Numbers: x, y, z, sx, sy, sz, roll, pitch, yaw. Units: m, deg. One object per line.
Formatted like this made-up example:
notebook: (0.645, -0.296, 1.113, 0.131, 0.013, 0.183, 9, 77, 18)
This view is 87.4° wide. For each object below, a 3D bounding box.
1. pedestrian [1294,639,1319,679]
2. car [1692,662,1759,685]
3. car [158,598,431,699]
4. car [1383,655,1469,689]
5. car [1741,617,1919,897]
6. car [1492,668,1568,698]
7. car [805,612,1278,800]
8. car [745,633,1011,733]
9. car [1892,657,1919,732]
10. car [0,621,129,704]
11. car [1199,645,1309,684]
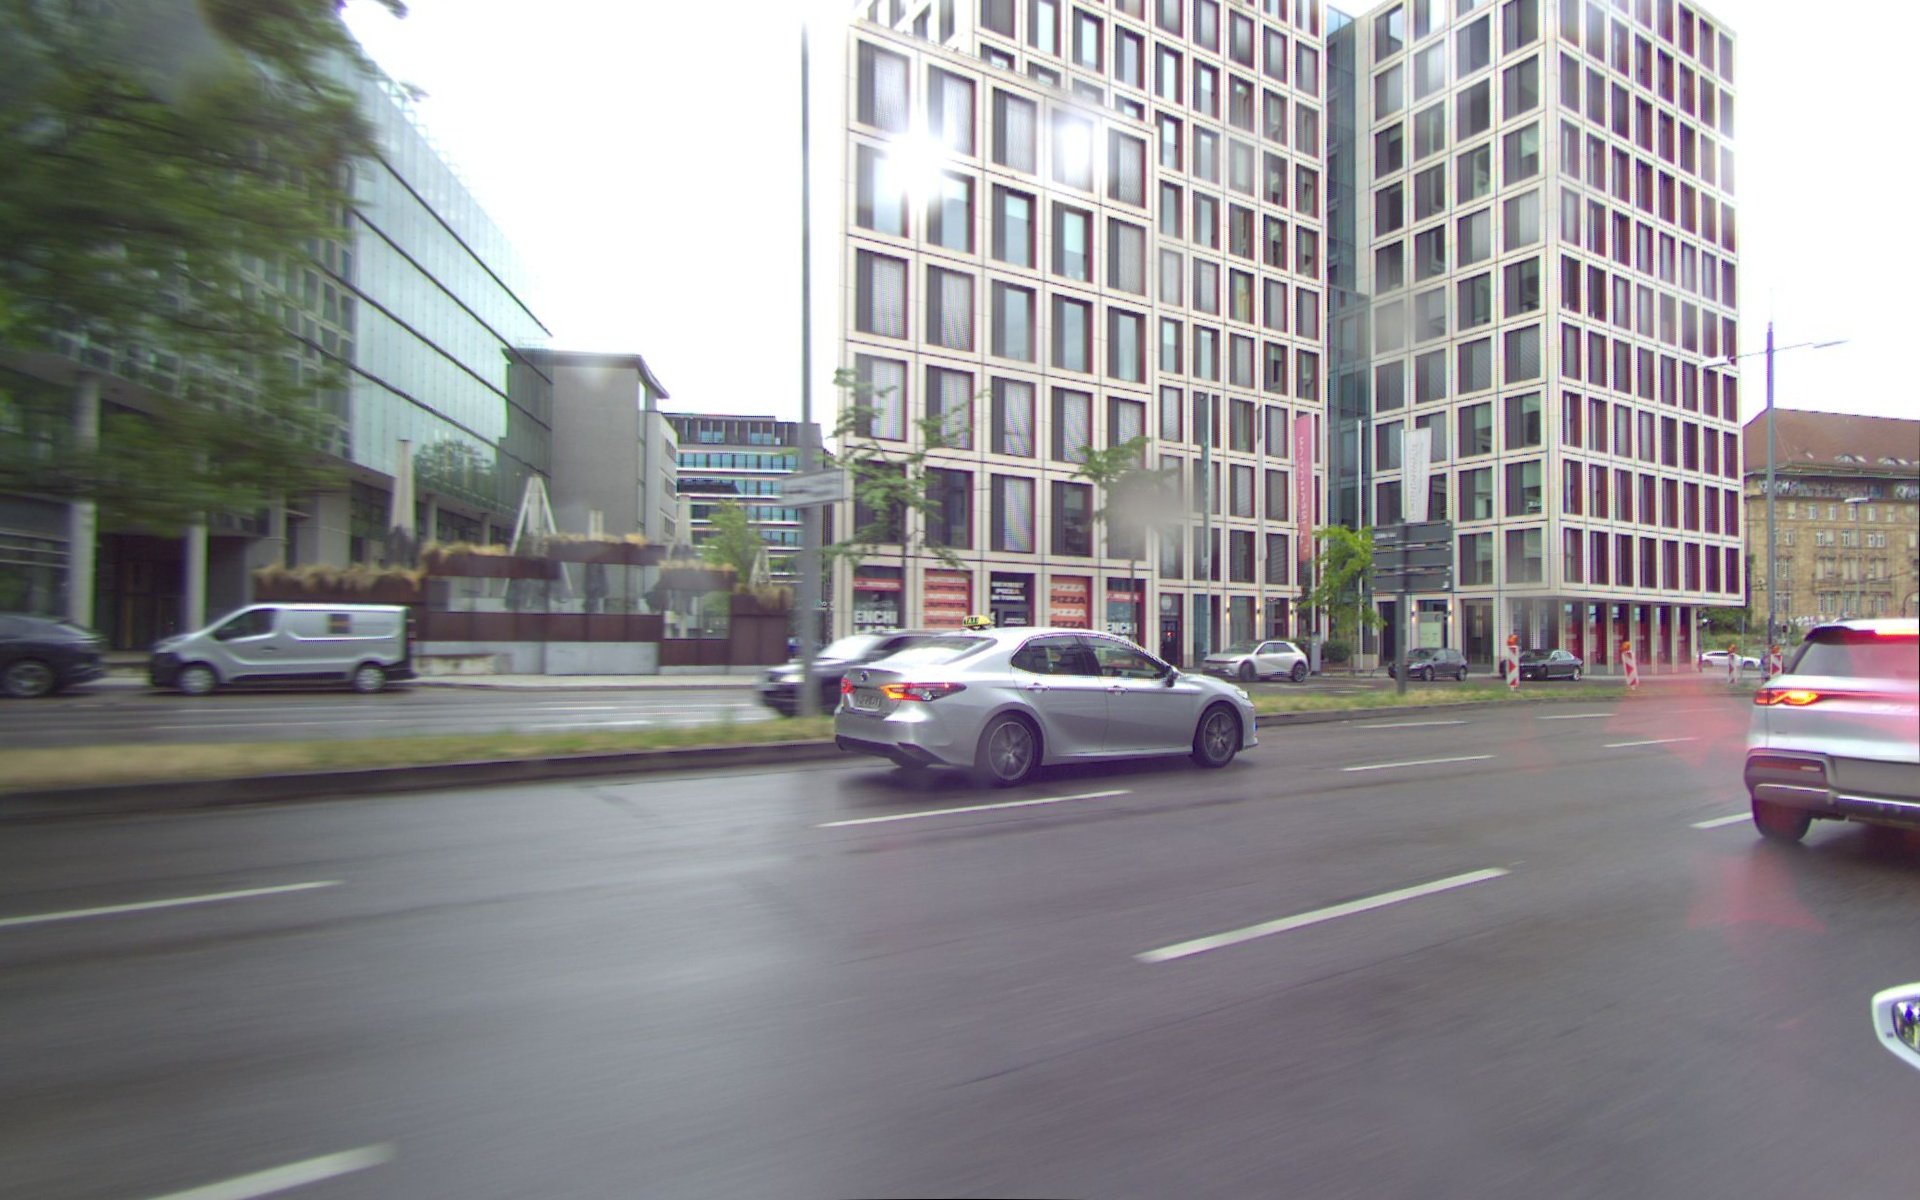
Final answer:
pedestrian: (15.453, 2.642, 44.763, 0.958, 1.757, 0.608, 3, -2, -36)
car: (63.953, 6.097, 83.904, 4.331, 1.684, 1.990, 0, -2, 42)
car: (-14.757, 1.098, 22.573, 4.865, 2.040, 1.981, 3, -2, -34)
car: (20.824, 3.215, 44.827, 3.914, 1.442, 1.688, 2, -4, -33)
car: (7.478, 1.036, 7.275, 4.130, 1.683, 1.796, 3, -2, -36)
car: (28.377, 4.096, 50.004, 3.914, 1.442, 1.688, 2, -4, -33)
car: (0.976, 0.987, 10.344, 4.751, 1.541, 1.820, 3, -2, -34)
car: (-1.449, 1.519, 19.065, 4.833, 1.653, 1.811, 3, -2, -39)
car: (20.514, 1.909, 19.930, 4.330, 1.422, 1.725, 3, -2, -29)
car: (-19.063, 1.178, 19.518, 4.242, 1.549, 1.787, 3, -2, -34)
car: (11.381, 2.483, 38.757, 4.328, 1.442, 1.688, 2, -4, -33)
